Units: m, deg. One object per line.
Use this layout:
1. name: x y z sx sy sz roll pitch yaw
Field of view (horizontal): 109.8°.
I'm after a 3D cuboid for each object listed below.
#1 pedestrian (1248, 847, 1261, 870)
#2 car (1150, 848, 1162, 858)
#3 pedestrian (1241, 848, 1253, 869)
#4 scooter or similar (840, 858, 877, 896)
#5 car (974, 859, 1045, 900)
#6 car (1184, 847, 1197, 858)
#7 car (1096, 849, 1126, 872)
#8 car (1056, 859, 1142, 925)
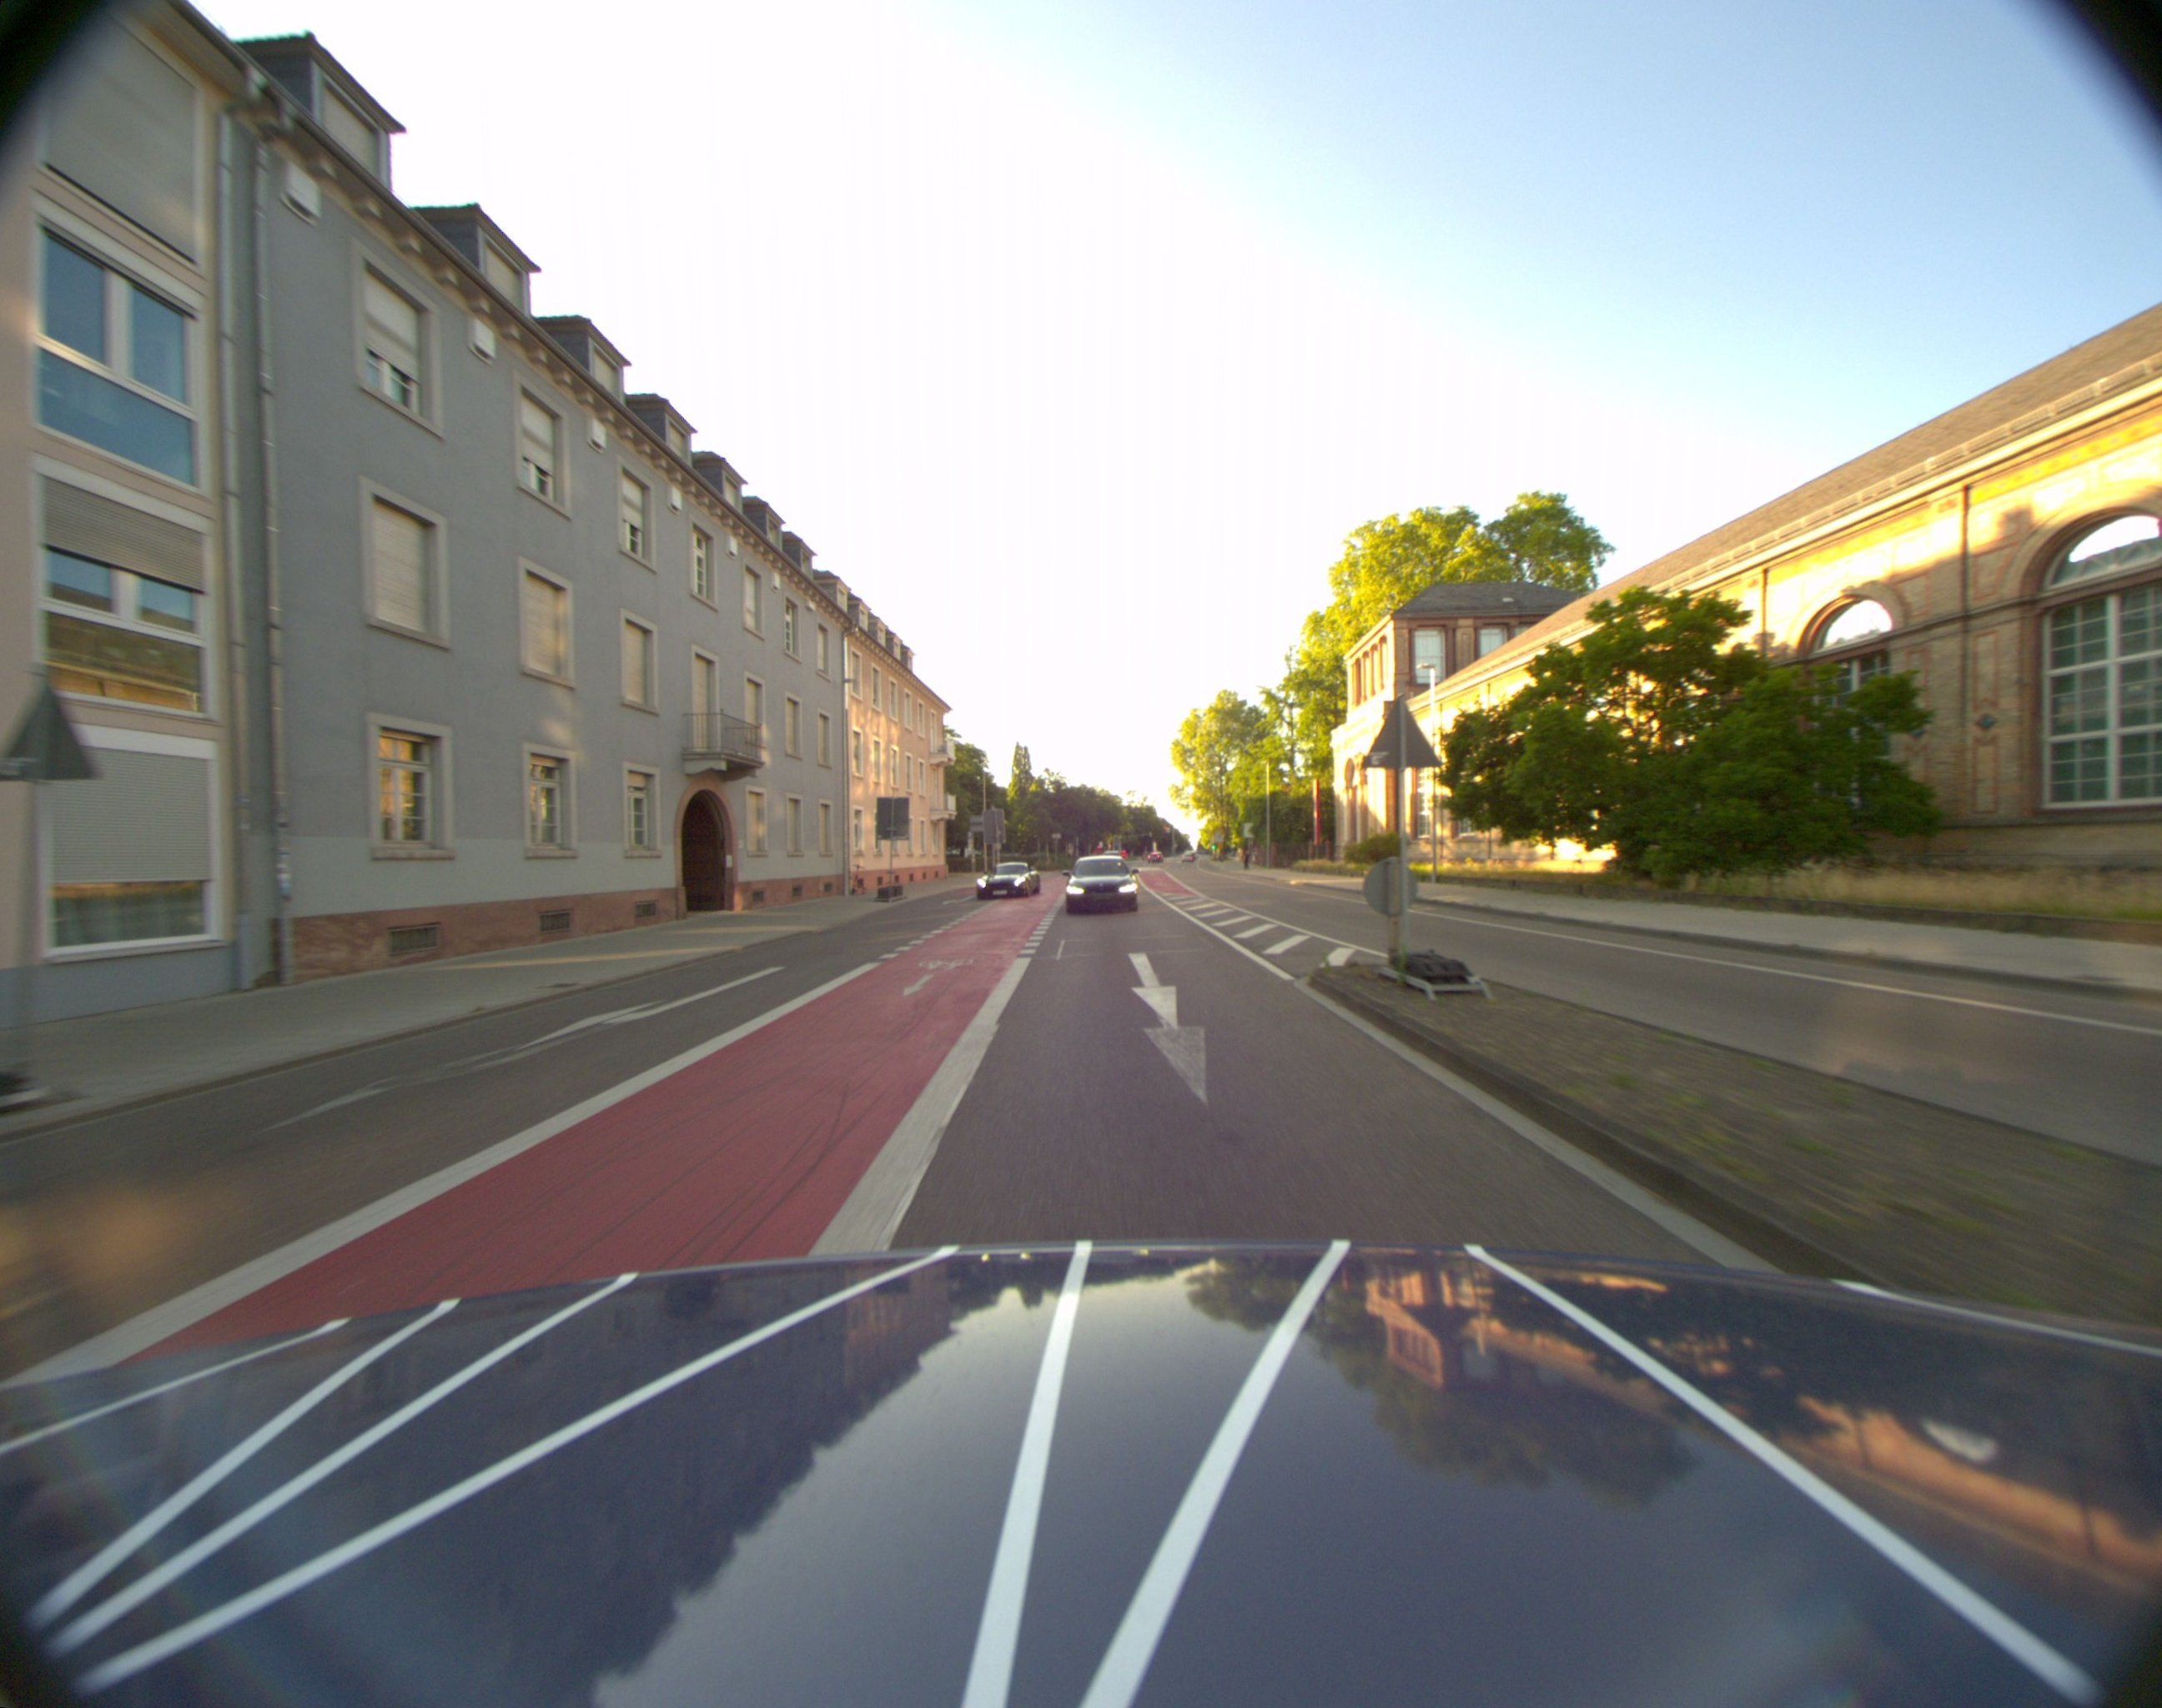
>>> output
1. pedestrian: 13.259 0.342 58.008 0.807 1.728 0.851 -1 1 26
2. car: 11.229 -0.101 113.227 1.775 1.455 4.001 1 1 6
3. pedestrian: 12.720 0.360 58.237 0.675 1.504 0.836 -5 -1 7
4. scooter or similar: -9.020 0.917 30.818 0.726 1.450 1.673 2 1 11
5. car: -2.665 0.935 29.337 2.183 1.293 4.357 -3 0 1
6. car: 17.613 -0.299 122.083 1.919 1.674 4.002 -1 1 8
7. car: 2.315 0.470 59.577 1.839 1.674 4.221 -3 1 -3
8. car: 0.554 0.907 20.024 1.963 1.379 4.781 -1 1 3
